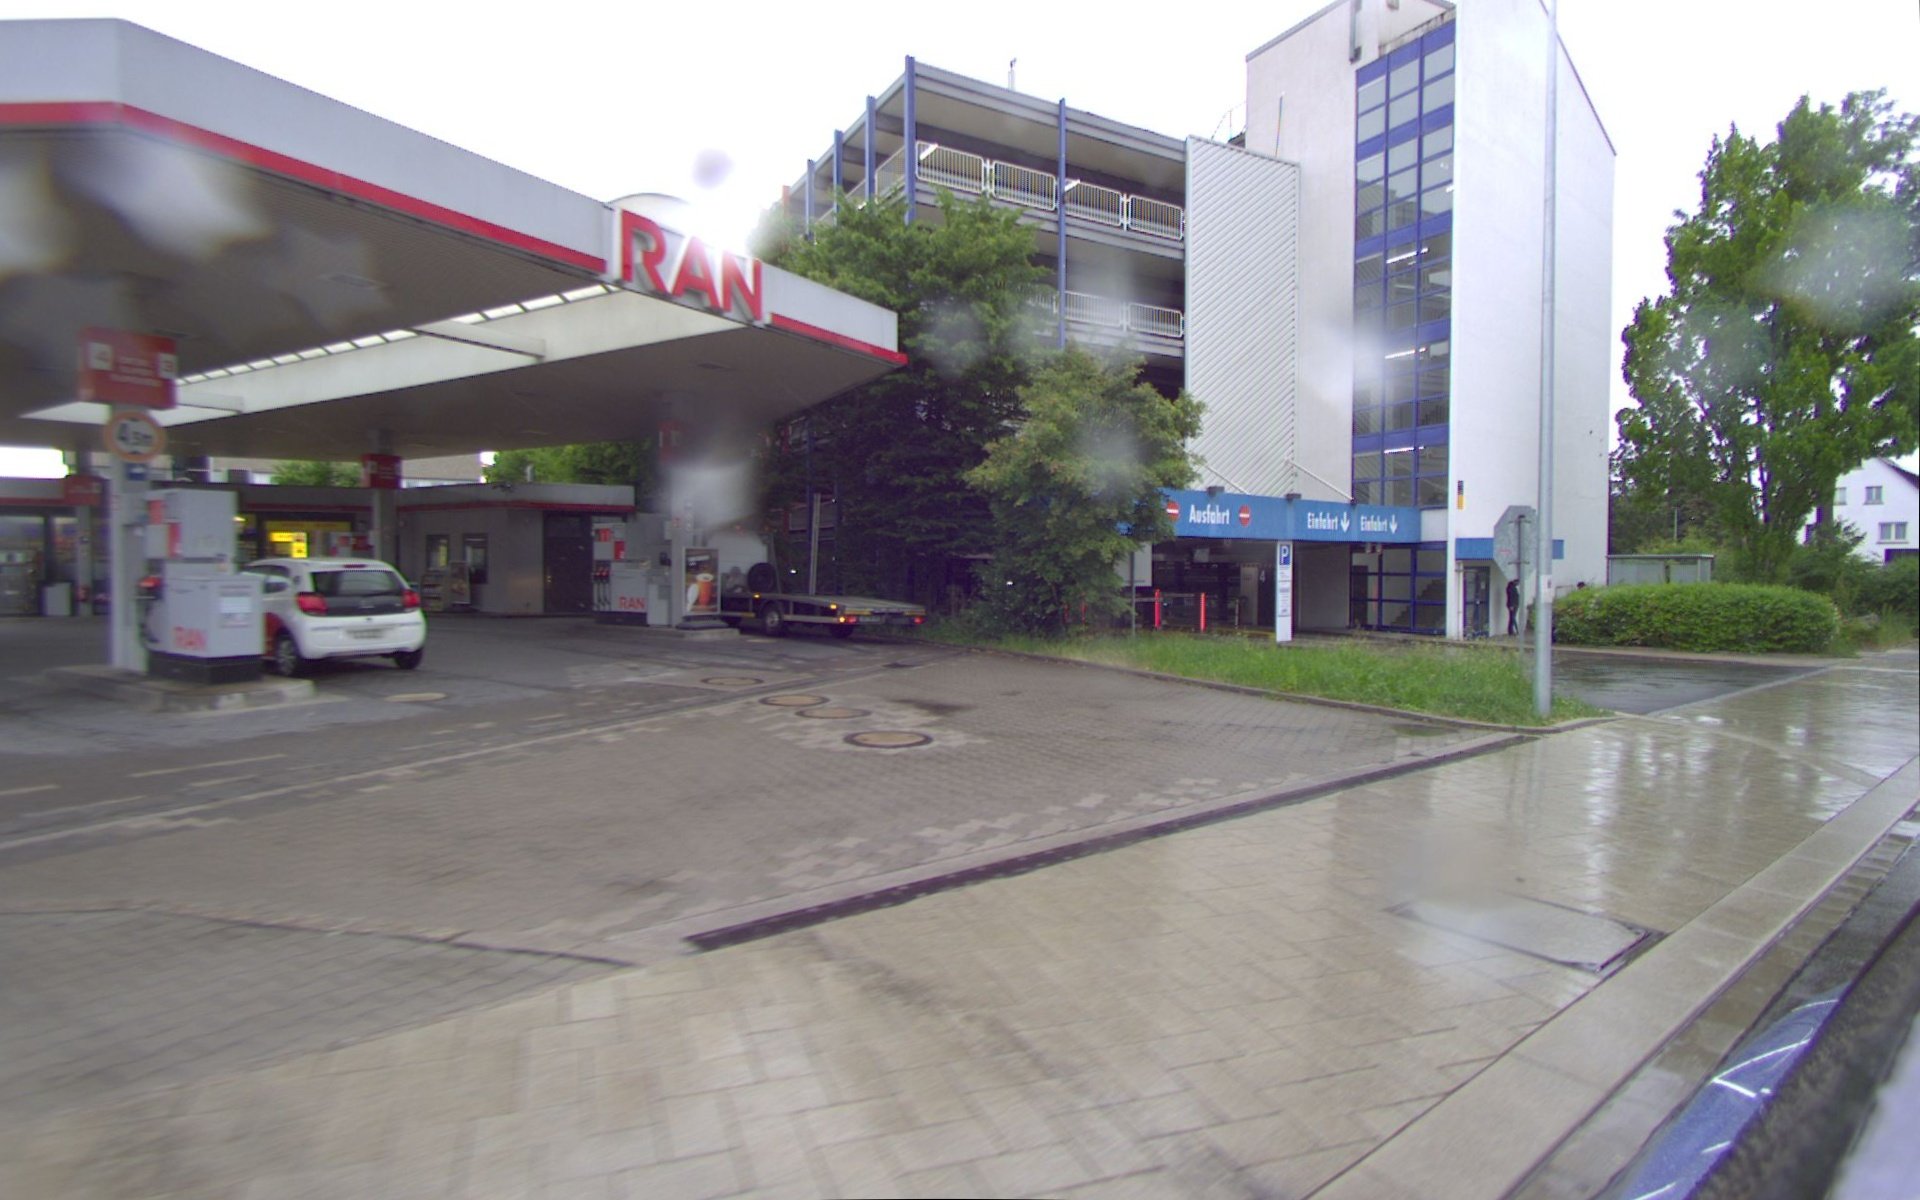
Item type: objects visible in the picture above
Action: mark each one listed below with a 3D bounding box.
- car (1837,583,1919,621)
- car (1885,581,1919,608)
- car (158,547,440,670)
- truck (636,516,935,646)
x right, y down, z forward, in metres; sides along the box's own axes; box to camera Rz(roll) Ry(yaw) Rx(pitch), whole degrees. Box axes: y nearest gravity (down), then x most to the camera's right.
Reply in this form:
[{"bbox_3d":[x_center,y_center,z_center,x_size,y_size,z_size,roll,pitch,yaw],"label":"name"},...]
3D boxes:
[{"bbox_3d":[38.302,0.086,41.041,1.838,1.471,3.991,-1,2,-43],"label":"car"},{"bbox_3d":[55.002,-0.308,57.138,1.838,1.471,3.991,-1,2,-43],"label":"car"},{"bbox_3d":[-8.989,0.044,13.693,3.970,1.445,1.756,1,1,33],"label":"car"},{"bbox_3d":[-3.830,-0.489,20.614,7.280,2.234,2.052,4,1,44],"label":"truck"}]
